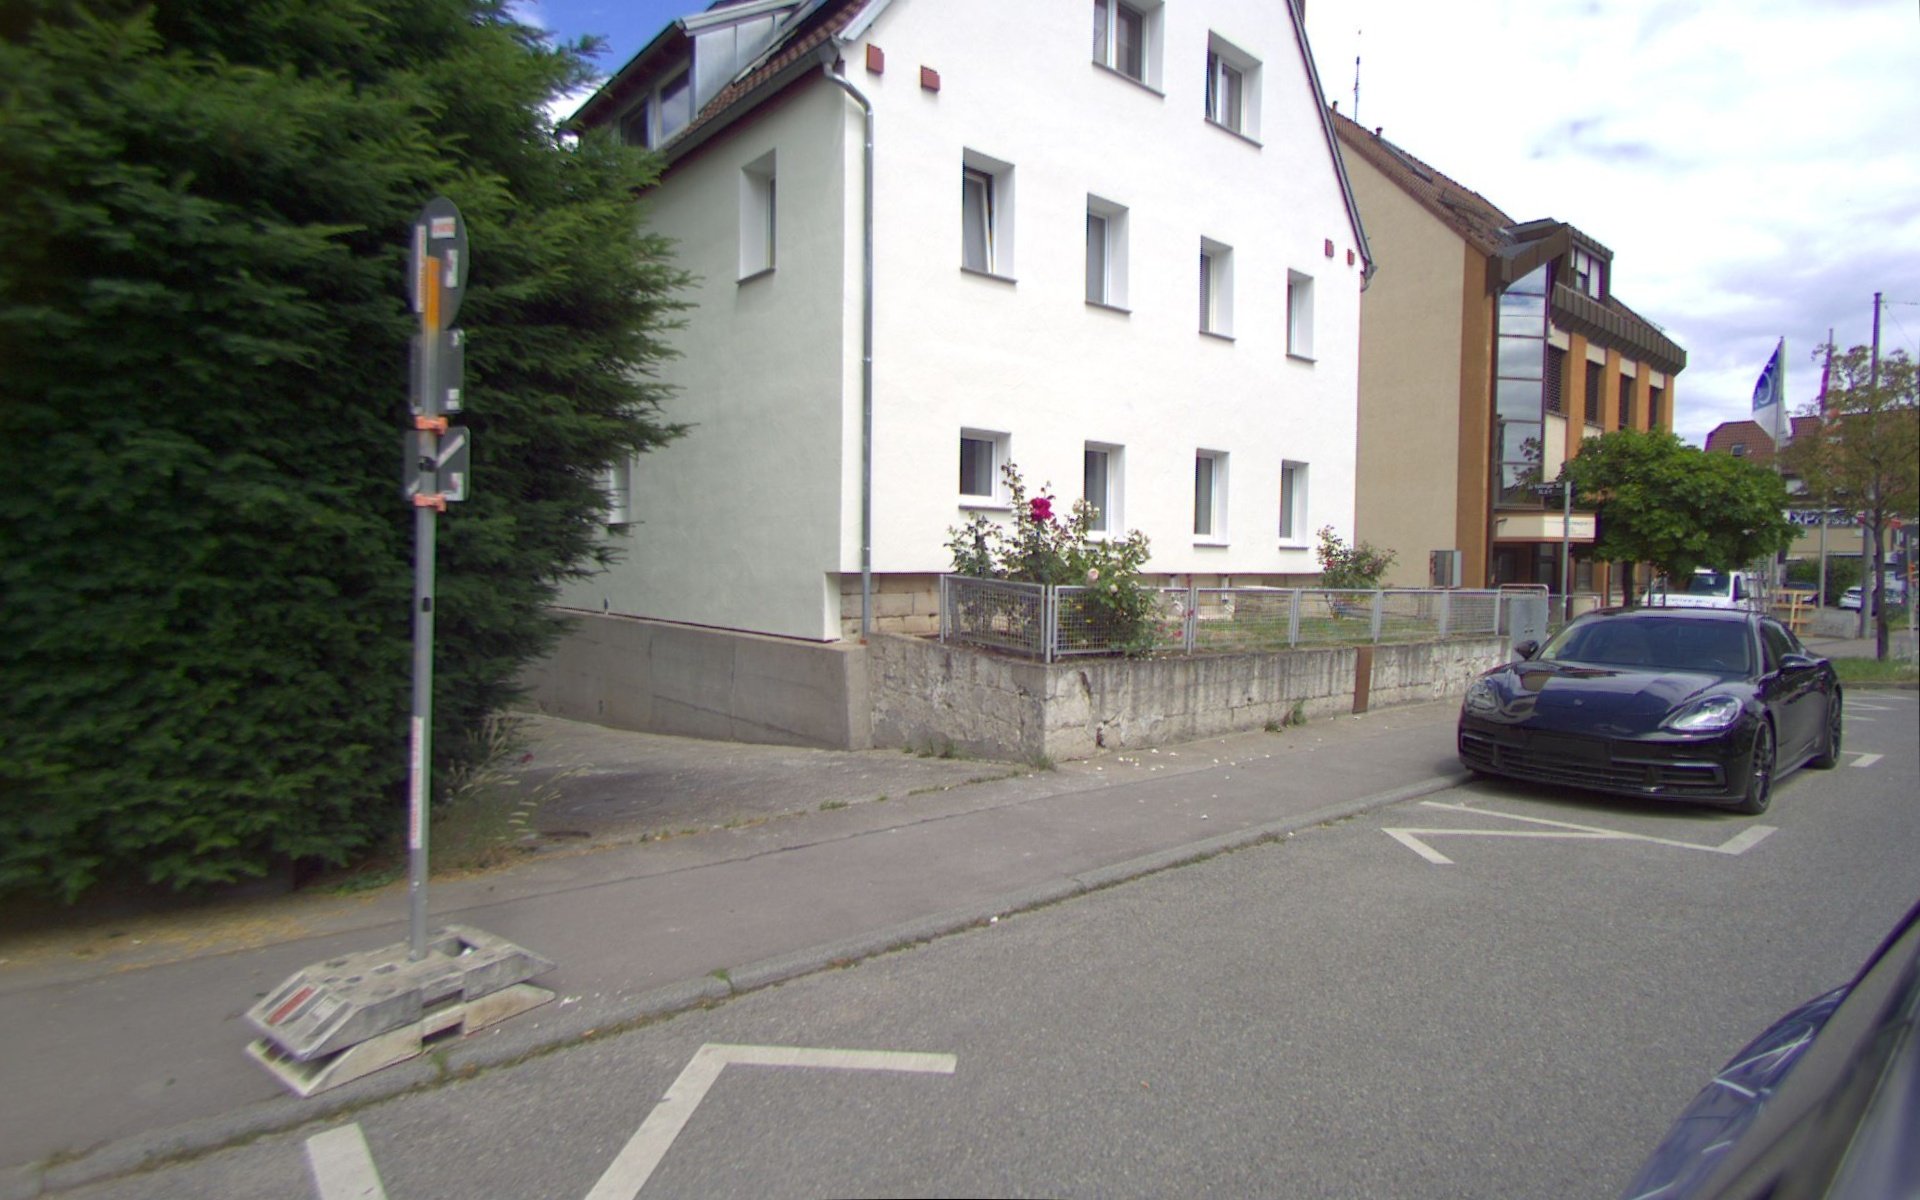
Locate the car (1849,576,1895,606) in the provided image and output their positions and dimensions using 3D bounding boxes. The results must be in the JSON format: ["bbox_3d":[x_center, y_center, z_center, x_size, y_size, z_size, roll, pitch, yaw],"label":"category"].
[{"bbox_3d":[53.342,-0.547,59.176,4.135,1.546,1.637,-2,7,-44],"label":"car"}]

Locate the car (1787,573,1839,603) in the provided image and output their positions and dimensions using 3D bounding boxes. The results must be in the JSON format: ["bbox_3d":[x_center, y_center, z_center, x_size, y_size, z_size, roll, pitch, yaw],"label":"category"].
[{"bbox_3d":[50.833,-0.746,60.304,4.578,1.560,1.715,-2,7,-43],"label":"car"}]

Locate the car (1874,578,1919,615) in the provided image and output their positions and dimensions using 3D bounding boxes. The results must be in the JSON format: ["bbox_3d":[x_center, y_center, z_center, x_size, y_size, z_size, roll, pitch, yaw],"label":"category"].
[{"bbox_3d":[47.795,-0.222,51.057,4.083,1.614,1.621,-1,8,-38],"label":"car"}]

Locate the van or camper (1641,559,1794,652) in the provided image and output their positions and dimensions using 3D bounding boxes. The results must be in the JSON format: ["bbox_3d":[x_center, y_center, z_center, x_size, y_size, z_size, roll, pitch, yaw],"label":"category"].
[{"bbox_3d":[18.636,0.065,24.845,4.464,2.057,1.872,-2,1,-37],"label":"van or camper"}]

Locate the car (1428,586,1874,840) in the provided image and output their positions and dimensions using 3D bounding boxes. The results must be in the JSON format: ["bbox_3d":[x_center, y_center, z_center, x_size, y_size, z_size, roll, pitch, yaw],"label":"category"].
[{"bbox_3d":[5.997,0.667,8.541,4.669,1.466,1.988,-2,3,-41],"label":"car"}]

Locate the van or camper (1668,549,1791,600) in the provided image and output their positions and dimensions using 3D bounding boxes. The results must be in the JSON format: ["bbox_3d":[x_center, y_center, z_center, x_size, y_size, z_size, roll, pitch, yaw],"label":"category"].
[{"bbox_3d":[50.740,-1.720,66.820,2.490,2.884,5.970,-1,6,-43],"label":"van or camper"}]

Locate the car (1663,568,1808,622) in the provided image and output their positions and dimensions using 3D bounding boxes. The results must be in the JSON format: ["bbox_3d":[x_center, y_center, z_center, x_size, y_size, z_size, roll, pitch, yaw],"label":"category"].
[{"bbox_3d":[28.296,-0.251,37.112,1.603,1.650,4.327,2,4,-5],"label":"car"}]
